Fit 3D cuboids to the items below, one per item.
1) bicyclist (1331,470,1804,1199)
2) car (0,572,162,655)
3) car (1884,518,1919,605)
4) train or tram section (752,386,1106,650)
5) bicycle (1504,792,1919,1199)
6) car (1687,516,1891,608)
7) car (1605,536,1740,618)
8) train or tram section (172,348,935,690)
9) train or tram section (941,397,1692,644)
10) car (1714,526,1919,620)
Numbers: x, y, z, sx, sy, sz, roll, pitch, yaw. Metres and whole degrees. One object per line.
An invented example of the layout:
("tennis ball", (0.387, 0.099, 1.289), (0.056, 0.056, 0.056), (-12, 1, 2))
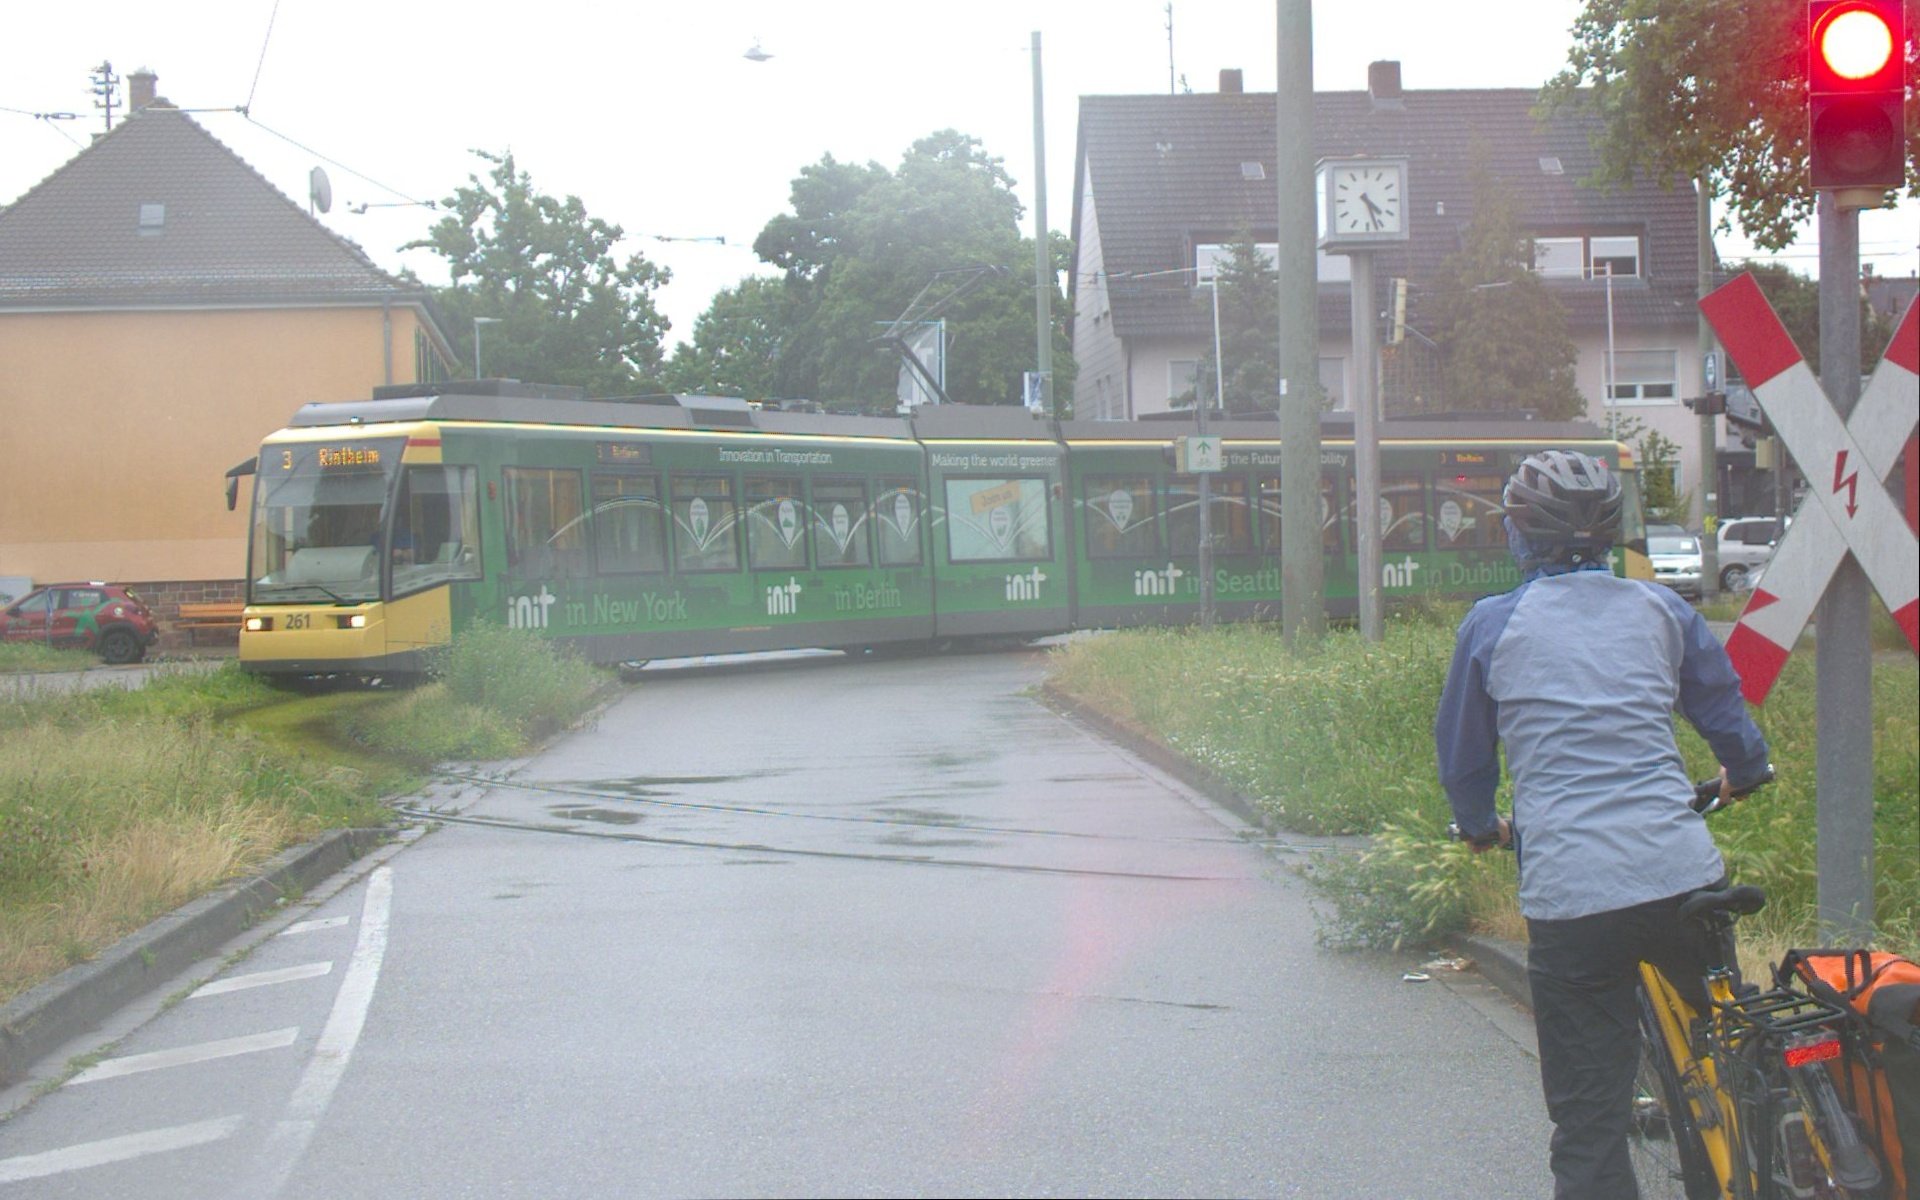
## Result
("bicyclist", (1.071, 0.593, 6.236), (0.667, 1.620, 0.853), (1, 0, -2))
("car", (-16.675, 0.236, 62.588), (3.986, 1.451, 1.834), (1, 0, -6))
("car", (20.874, -0.793, 72.287), (1.994, 1.784, 4.000), (1, 0, 4))
("train or tram section", (-0.373, -1.145, 48.979), (2.766, 3.541, 4.979), (1, 1, 32))
("bicycle", (1.349, 0.911, 6.065), (0.446, 1.001, 1.728), (-1, 1, -2))
("car", (18.362, -0.839, 76.271), (3.986, 1.944, 2.000), (1, 0, -2))
("car", (14.740, -0.470, 70.964), (1.843, 1.634, 3.995), (1, 0, 25))
("train or tram section", (-4.398, -0.984, 41.604), (2.765, 3.540, 12.186), (1, 2, 28))
("train or tram section", (5.887, -1.272, 54.114), (13.091, 3.540, 2.769), (-1, 2, -34))
("car", (16.345, -0.513, 65.103), (3.684, 1.695, 1.890), (1, 0, 0))
